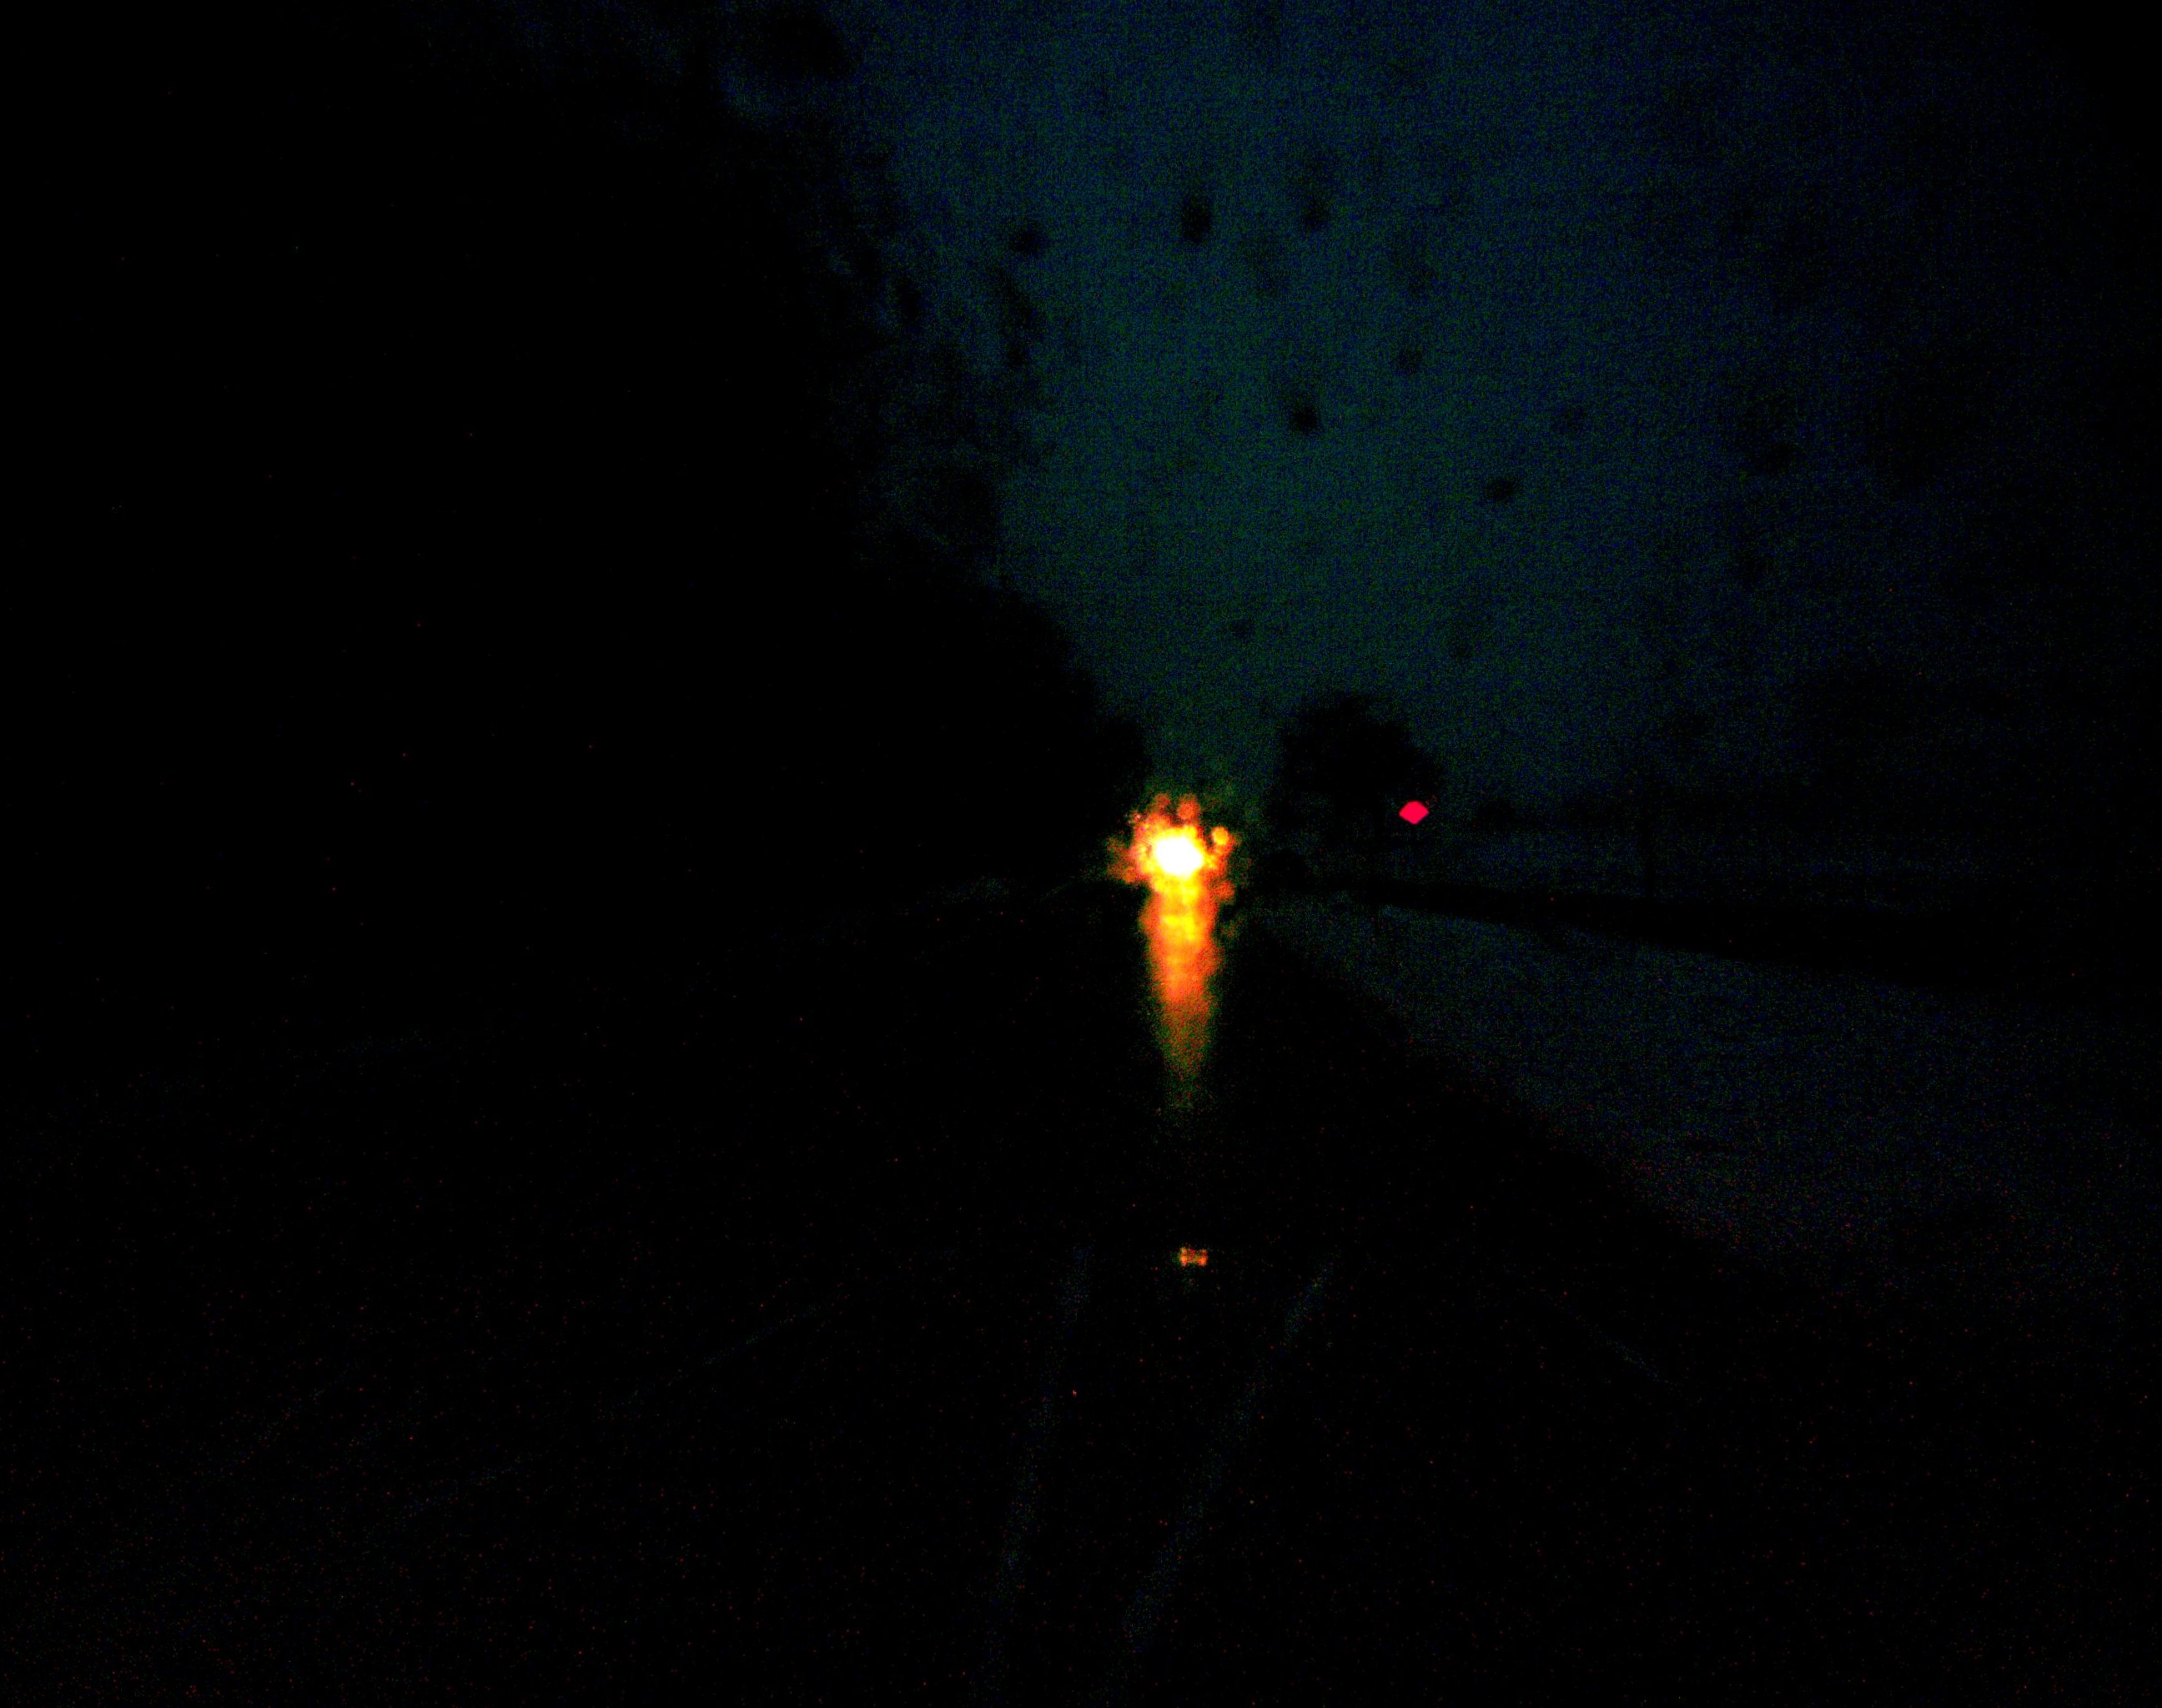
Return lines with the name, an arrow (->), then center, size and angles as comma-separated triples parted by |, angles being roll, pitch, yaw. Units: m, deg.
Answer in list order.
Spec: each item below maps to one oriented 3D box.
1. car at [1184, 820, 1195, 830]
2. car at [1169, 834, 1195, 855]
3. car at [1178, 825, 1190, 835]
car -> 20.368, -5.405, 143.114 | 1.997, 1.797, 4.001 | -2, 2, 7
car -> 7.150, -0.679, 54.198 | 1.724, 1.426, 3.678 | -2, 1, 7
car -> 18.613, -4.313, 137.736 | 1.997, 1.797, 4.001 | -2, 2, 7
